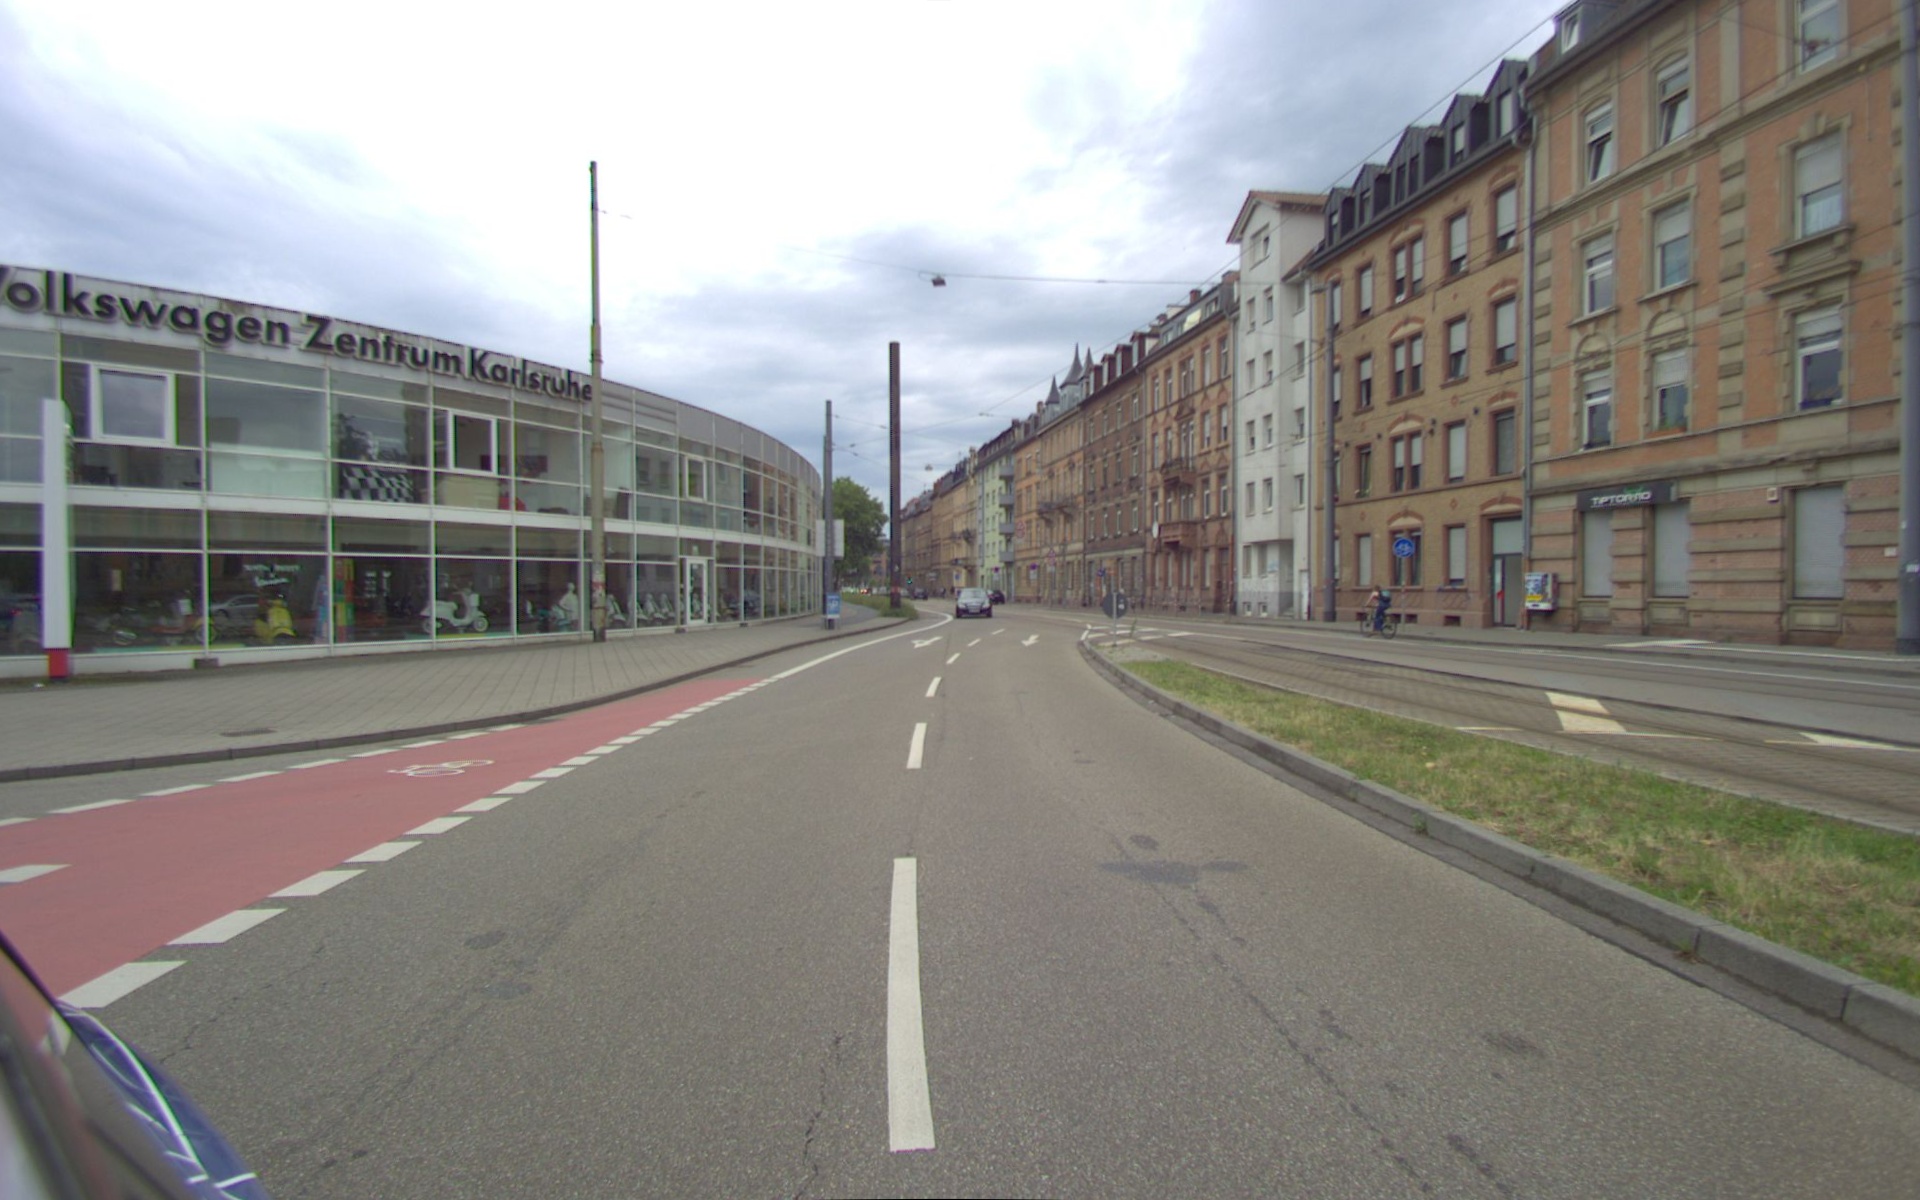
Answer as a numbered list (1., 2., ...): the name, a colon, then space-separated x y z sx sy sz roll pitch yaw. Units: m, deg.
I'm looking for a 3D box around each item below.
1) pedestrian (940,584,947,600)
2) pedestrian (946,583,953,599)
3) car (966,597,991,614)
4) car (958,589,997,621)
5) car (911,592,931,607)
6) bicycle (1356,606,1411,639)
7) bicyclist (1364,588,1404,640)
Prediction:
1. pedestrian: -2.171 -1.051 131.210 0.798 2.029 0.701 -1 0 -8
2. pedestrian: -1.402 -1.134 131.418 0.798 2.029 0.879 -1 0 -8
3. car: 1.702 0.484 93.955 1.826 1.491 3.833 -1 0 -6
4. car: 0.858 0.216 48.282 1.693 1.432 4.065 0 0 3
5. car: -4.499 -0.064 115.821 1.775 1.652 4.237 0 0 -8
6. bicycle: 12.533 0.639 29.994 0.597 0.922 1.724 -1 0 -13
7. bicyclist: 12.544 0.412 29.926 0.652 1.505 0.945 -1 0 -12
